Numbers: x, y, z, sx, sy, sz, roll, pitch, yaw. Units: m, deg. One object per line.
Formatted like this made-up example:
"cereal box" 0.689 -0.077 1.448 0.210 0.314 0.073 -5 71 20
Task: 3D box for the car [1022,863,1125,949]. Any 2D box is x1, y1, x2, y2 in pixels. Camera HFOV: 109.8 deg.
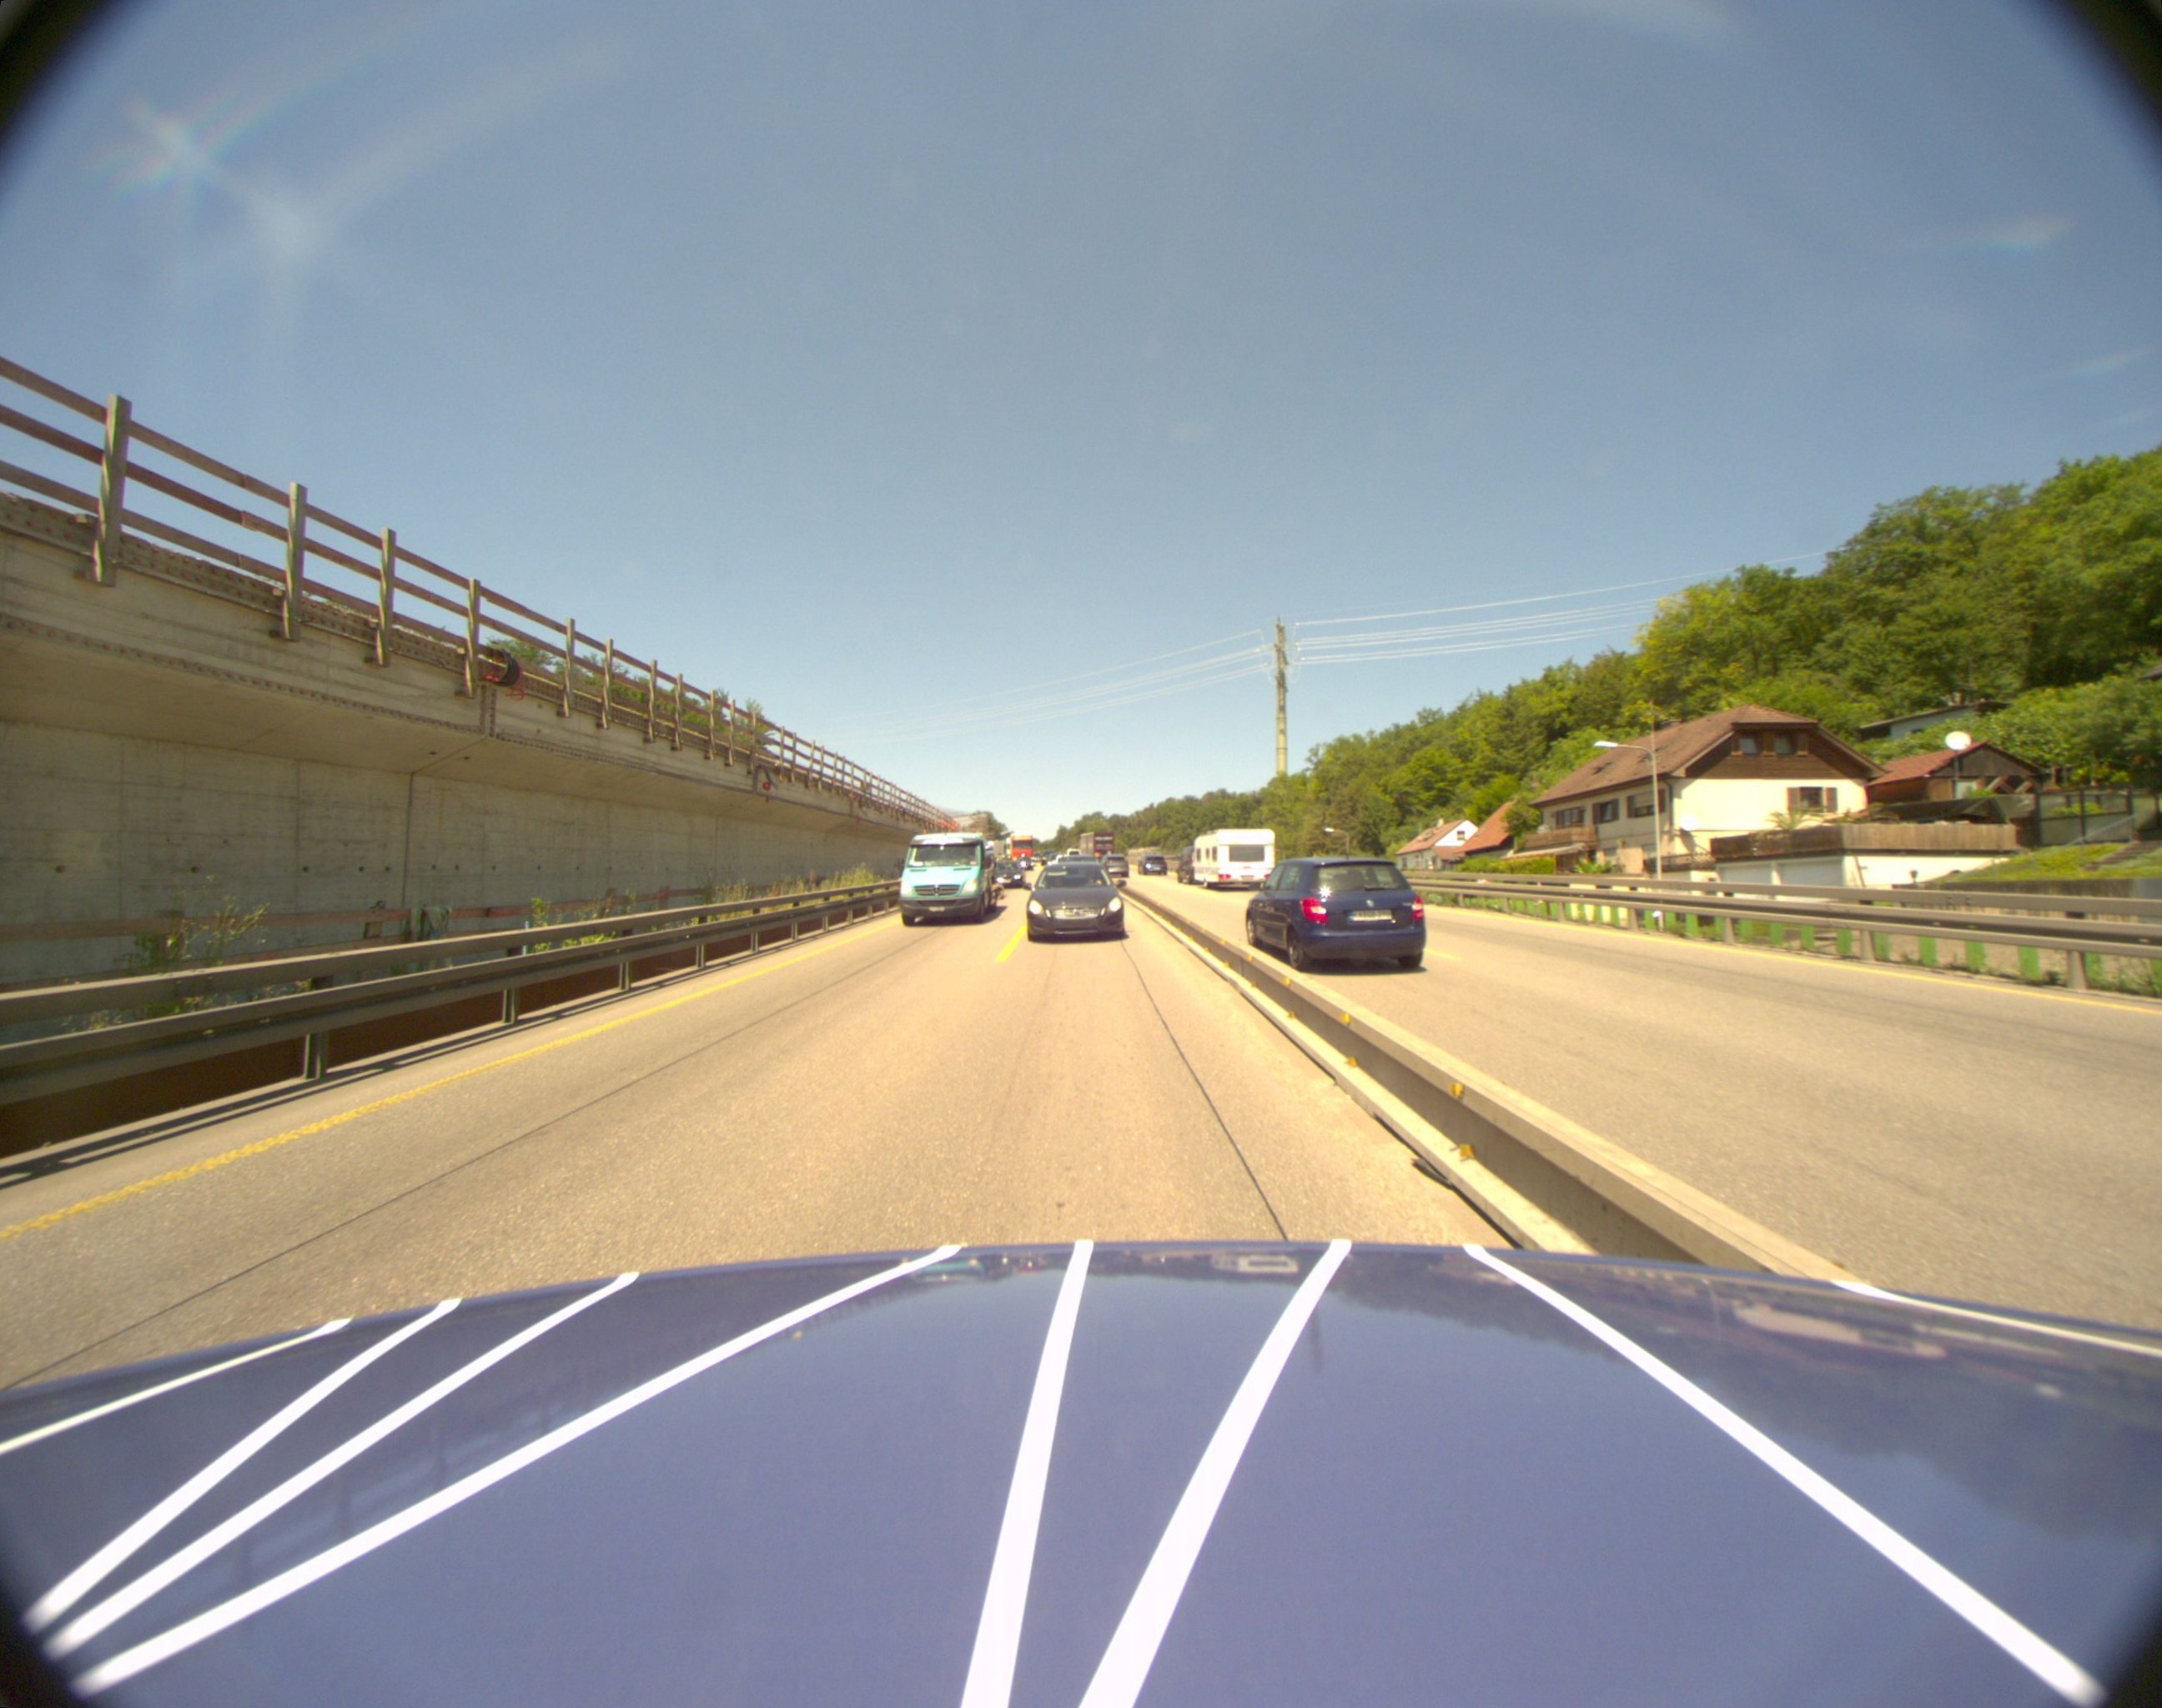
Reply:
"car" -0.169 0.947 15.571 1.793 1.440 4.297 -1 0 -1

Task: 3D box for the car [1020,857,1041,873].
"car" -4.977 1.061 75.303 1.674 1.499 3.648 -2 1 2

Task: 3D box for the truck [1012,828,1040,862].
"truck" -6.905 -1.094 96.785 2.650 3.978 11.194 -2 1 -1

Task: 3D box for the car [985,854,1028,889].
"car" -3.873 0.857 39.958 1.860 1.650 3.999 -2 1 -1

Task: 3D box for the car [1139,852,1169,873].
"car" 5.457 0.593 57.098 1.630 1.505 3.855 -1 0 -3

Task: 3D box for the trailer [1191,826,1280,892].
"trailer" 6.630 0.163 33.452 2.606 2.573 6.240 -1 1 0

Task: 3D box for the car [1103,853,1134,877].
"car" 2.602 0.707 53.341 1.802 1.577 4.321 -1 0 -2

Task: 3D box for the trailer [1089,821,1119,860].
"trailer" 2.892 -1.731 100.503 3.130 4.687 12.075 -2 1 -2

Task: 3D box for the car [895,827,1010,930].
"car" -3.344 0.560 21.337 1.968 2.367 7.209 -1 0 0

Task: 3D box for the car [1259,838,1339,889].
"car" 9.377 0.366 33.128 1.998 2.002 4.979 -2 1 0

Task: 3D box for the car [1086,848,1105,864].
"car" 1.502 0.222 81.365 1.859 1.608 3.999 -2 1 0

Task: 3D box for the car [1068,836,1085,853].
"car" -0.652 -1.276 100.978 1.860 2.138 5.564 -2 1 -4

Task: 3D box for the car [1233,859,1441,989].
"car" 3.433 0.837 11.044 1.574 1.453 4.213 -1 0 0

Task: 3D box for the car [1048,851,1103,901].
"car" -0.191 0.743 28.379 1.859 1.650 3.999 -2 1 0
